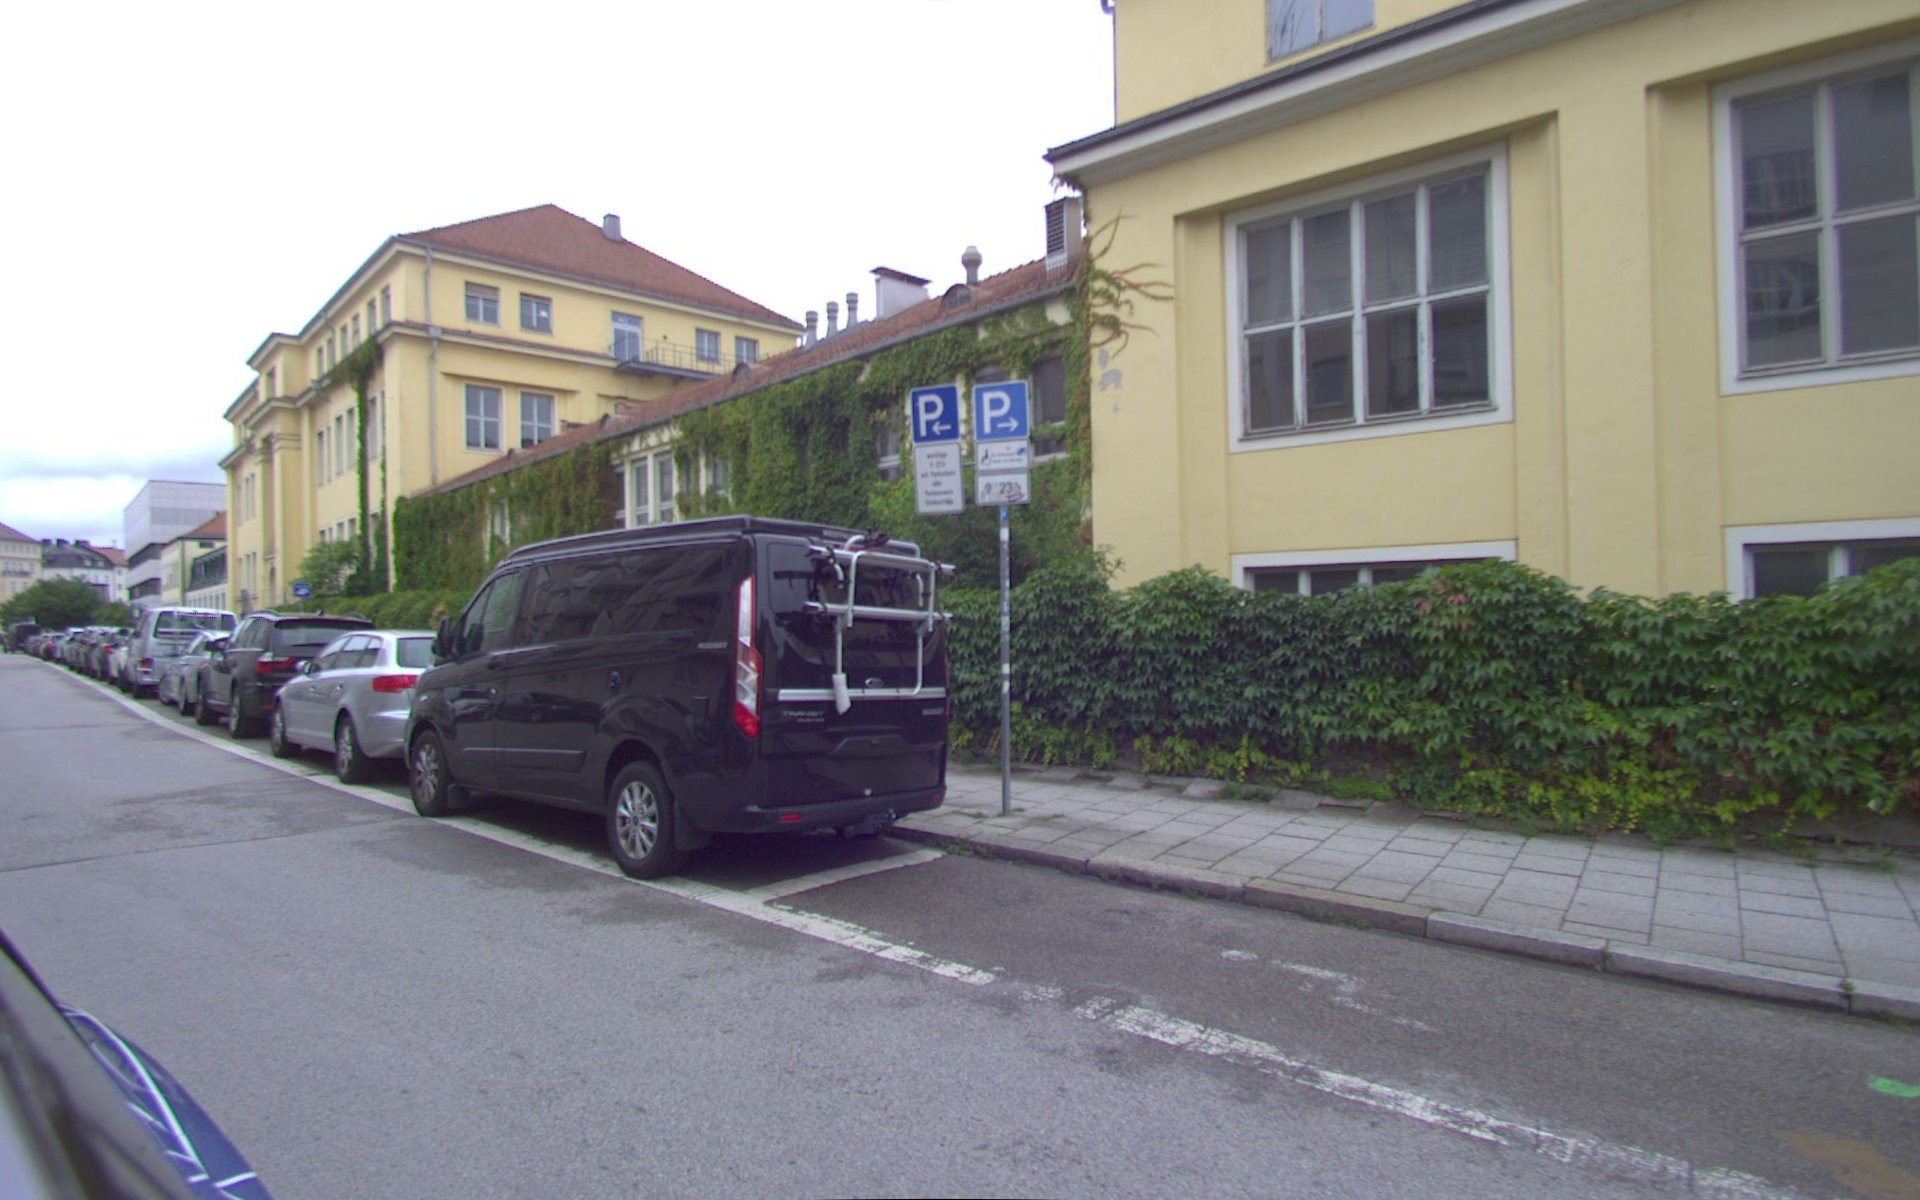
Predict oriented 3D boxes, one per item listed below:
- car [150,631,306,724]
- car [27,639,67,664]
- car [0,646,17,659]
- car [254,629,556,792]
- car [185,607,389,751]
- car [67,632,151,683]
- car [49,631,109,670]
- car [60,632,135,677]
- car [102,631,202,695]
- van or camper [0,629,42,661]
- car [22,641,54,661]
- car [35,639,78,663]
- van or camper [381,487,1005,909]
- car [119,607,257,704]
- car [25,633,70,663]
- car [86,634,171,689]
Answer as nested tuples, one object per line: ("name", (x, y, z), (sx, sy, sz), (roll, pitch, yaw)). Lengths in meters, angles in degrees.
("car", (-13.252, 1.297, 18.222), (1.681, 1.433, 4.428), (0, -1, -44))
("car", (-60.613, 3.440, 67.163), (3.998, 1.578, 1.656), (-3, -5, 44))
("car", (-150.276, 8.222, 158.394), (3.940, 1.874, 2.002), (1, -3, -44))
("car", (-5.956, 1.042, 10.641), (4.073, 1.388, 1.601), (-2, -5, 44))
("car", (-9.718, 1.013, 14.455), (1.601, 1.743, 4.427), (0, -1, -45))
("car", (-28.364, 1.863, 33.697), (4.150, 1.549, 1.762), (-2, -1, 44))
("car", (-40.878, 2.301, 46.910), (4.357, 1.646, 1.661), (-2, -1, 43))
("car", (-32.155, 1.990, 37.707), (4.196, 1.549, 1.762), (-2, -1, 44))
("car", (-20.771, 1.587, 25.978), (1.560, 1.504, 3.732), (4, -5, -44))
("van or camper", (-86.094, 4.099, 92.713), (5.566, 2.829, 2.114), (-3, -3, 39))
("car", (-77.487, 4.299, 85.069), (3.868, 1.574, 1.676), (-3, -5, 44))
("car", (-56.484, 3.196, 63.246), (3.998, 1.409, 1.656), (-3, -5, 44))
("van or camper", (-2.146, 0.576, 7.288), (4.749, 2.081, 1.941), (-2, -4, 40))
("car", (-17.065, 1.146, 22.278), (1.970, 1.889, 4.763), (0, -1, -43))
("car", (-48.336, 2.523, 53.588), (1.660, 1.507, 3.988), (0, -1, -44))
("car", (-24.324, 1.737, 29.557), (1.560, 1.466, 3.906), (0, -1, -45))
